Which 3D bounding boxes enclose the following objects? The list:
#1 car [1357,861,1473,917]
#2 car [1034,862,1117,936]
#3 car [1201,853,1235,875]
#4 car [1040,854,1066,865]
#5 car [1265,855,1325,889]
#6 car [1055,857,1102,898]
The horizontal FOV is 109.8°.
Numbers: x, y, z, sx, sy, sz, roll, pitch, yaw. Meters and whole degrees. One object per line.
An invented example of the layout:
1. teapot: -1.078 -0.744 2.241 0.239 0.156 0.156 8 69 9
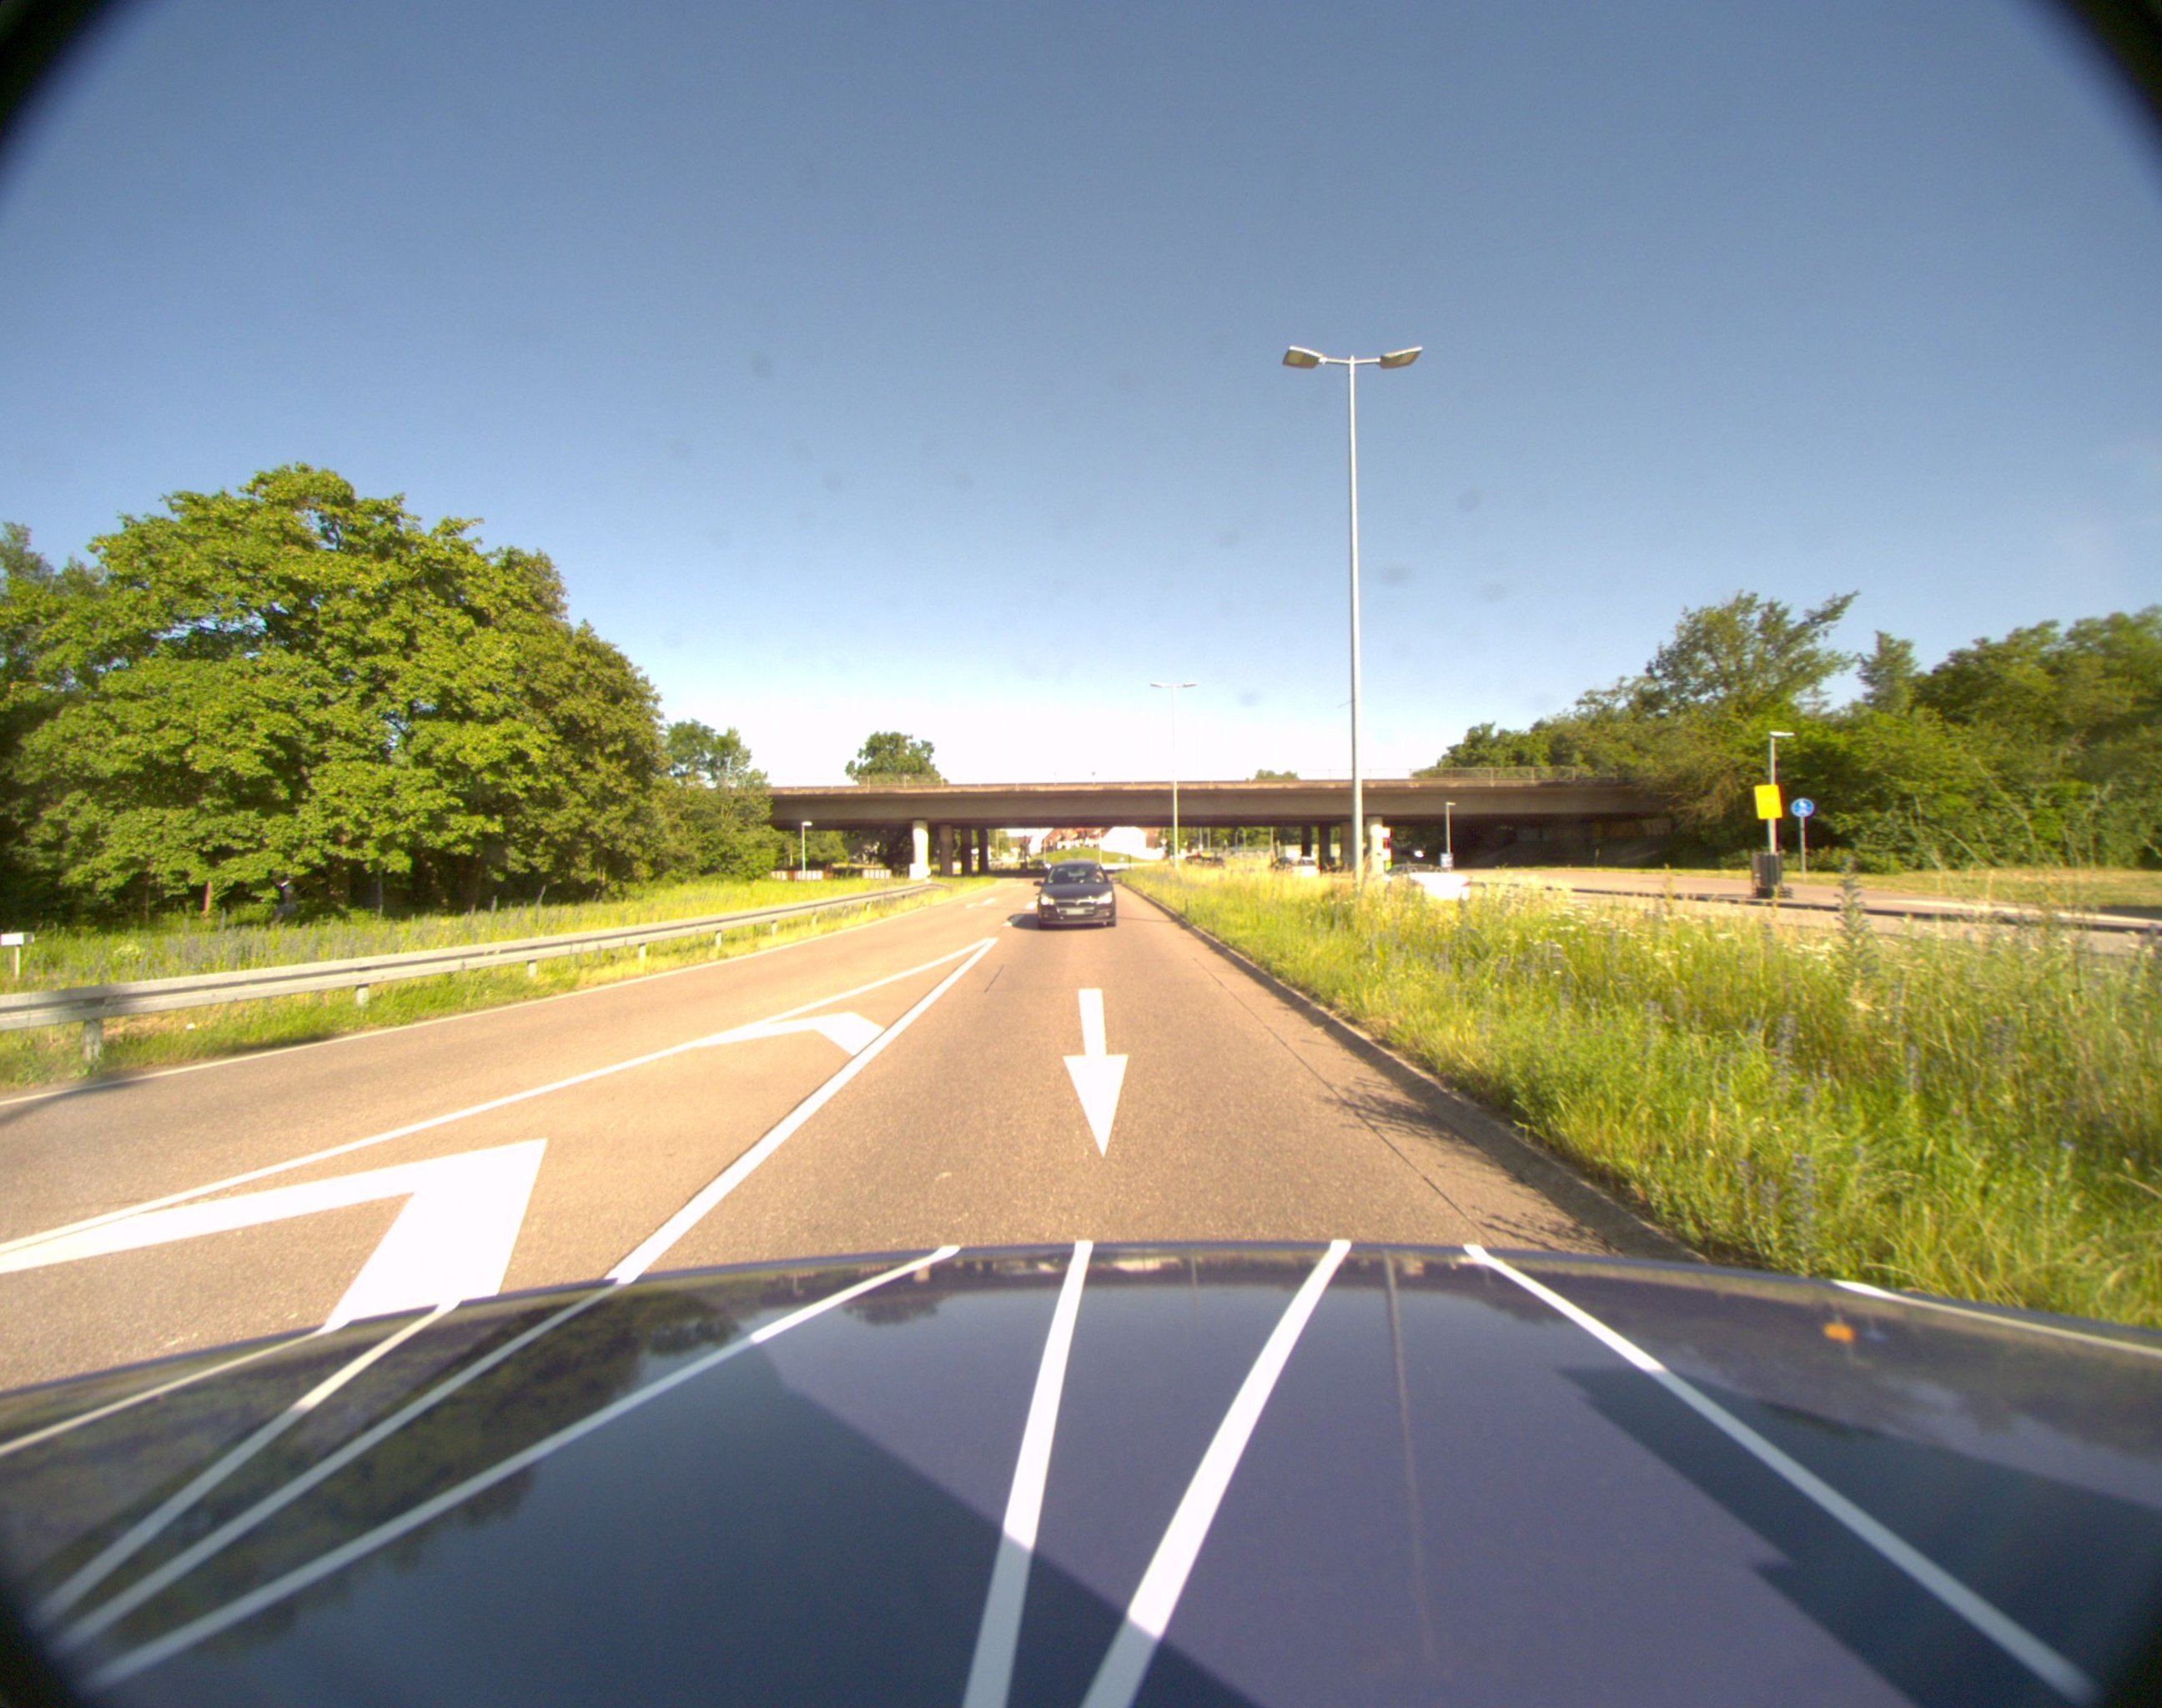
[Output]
1. car: 9.709 0.956 22.426 1.636 1.436 4.103 -1 0 0
2. car: -0.052 0.961 17.871 1.706 1.446 3.959 -2 0 2
3. car: 9.814 0.702 54.564 1.637 1.521 3.592 -1 0 -3
4. car: -3.874 0.757 103.647 1.831 1.528 4.033 -1 0 -29
5. car: 10.139 0.820 36.228 1.637 1.521 3.591 -1 0 -4
6. car: -0.058 0.914 31.621 1.827 1.528 4.042 -1 0 1
